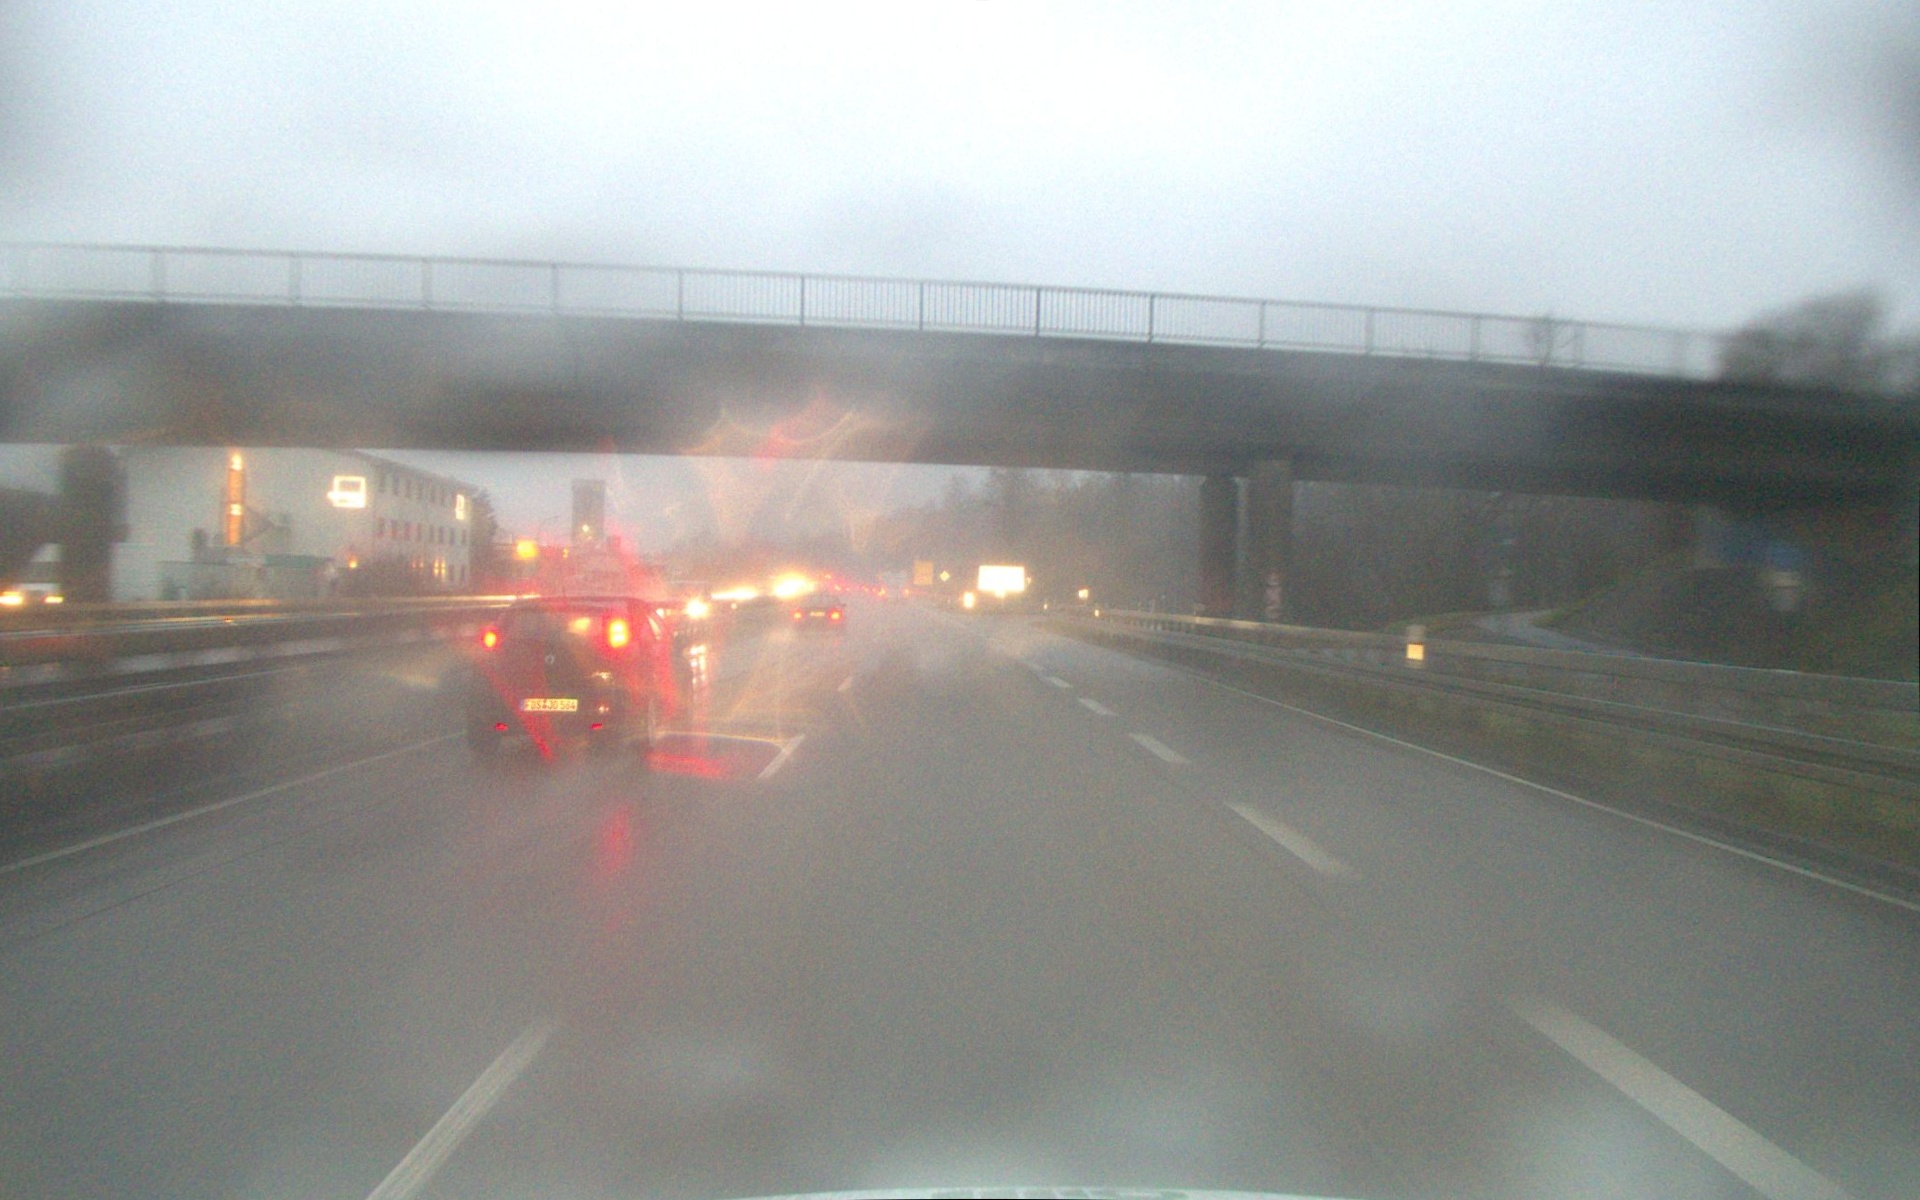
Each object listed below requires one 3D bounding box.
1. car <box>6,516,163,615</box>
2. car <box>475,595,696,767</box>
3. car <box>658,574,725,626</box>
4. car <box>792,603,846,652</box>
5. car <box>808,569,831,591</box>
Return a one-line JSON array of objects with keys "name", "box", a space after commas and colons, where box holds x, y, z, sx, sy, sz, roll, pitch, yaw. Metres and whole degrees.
[{"name": "car", "box": [-27.129, -1.058, 51.468, 2.145, 2.821, 4.580, 3, 1, 3]}, {"name": "car", "box": [-3.671, 0.735, 16.732, 1.497, 1.440, 3.477, 3, 1, -2]}, {"name": "car", "box": [-10.890, -0.045, 67.369, 1.954, 1.905, 5.268, 3, 1, -2]}, {"name": "car", "box": [-4.792, 0.924, 56.643, 1.741, 1.561, 4.698, -1, 0, -4]}, {"name": "car", "box": [-14.355, -2.027, 168.604, 2.084, 2.157, 3.568, 3, 0, -9]}]
